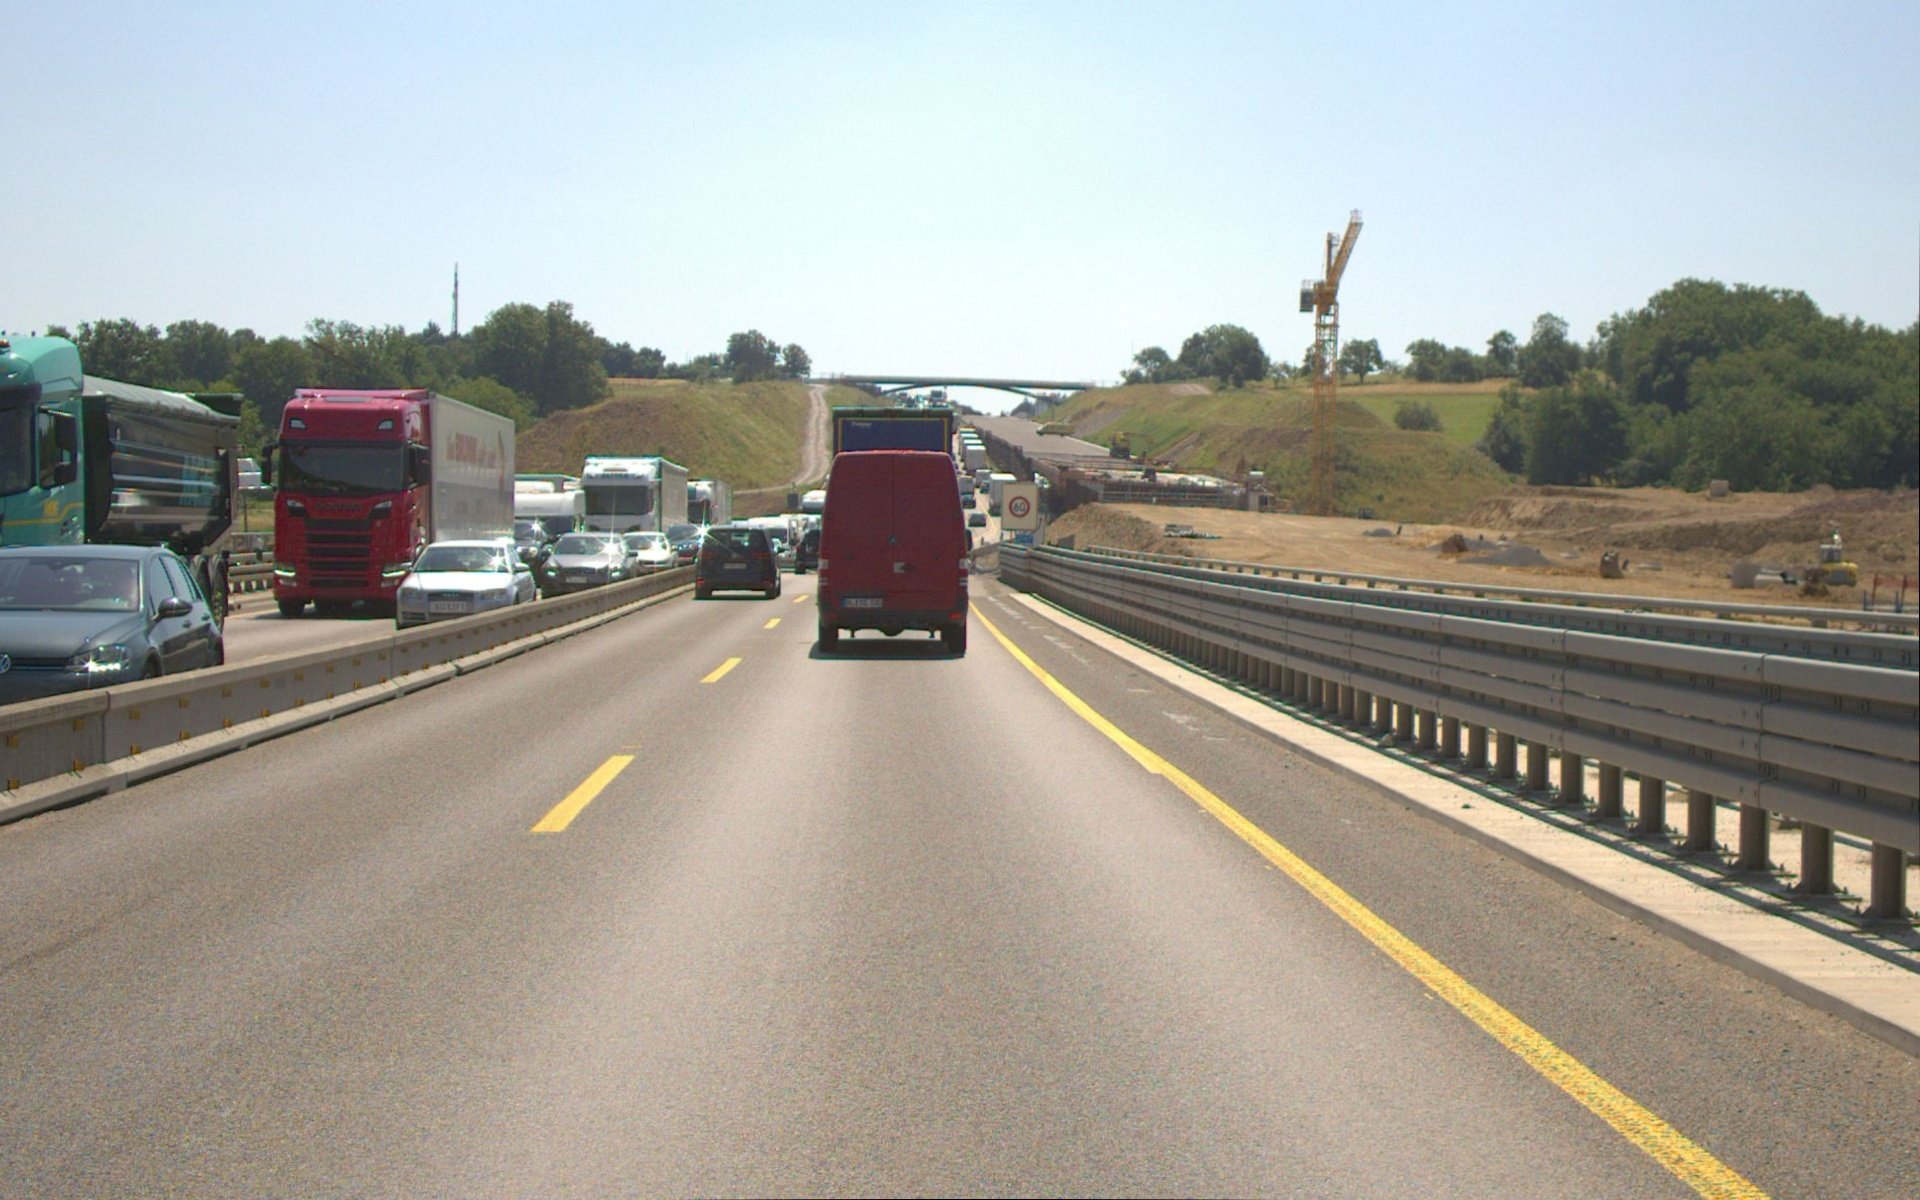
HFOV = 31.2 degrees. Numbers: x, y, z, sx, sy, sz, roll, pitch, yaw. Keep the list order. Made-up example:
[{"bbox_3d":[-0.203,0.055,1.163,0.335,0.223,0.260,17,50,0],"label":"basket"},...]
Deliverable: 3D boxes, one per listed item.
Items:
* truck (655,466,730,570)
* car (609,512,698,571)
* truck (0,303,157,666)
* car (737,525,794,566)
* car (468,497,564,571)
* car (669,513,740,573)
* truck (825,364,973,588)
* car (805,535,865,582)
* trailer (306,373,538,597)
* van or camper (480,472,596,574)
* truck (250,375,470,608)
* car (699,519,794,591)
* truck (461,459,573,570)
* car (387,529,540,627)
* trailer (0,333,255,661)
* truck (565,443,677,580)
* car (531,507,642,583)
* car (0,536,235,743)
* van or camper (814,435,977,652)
[{"bbox_3d":[-11.593,-3.570,149.423,2.806,4.377,6.225,0,1,0],"label":"truck"},{"bbox_3d":[-8.126,-1.536,91.405,1.901,1.456,4.194,3,0,0],"label":"car"},{"bbox_3d":[-10.862,-1.203,37.909,2.796,3.709,5.375,-2,1,-2],"label":"truck"},{"bbox_3d":[-7.494,-2.120,132.846,1.865,1.454,4.607,2,1,0],"label":"car"},{"bbox_3d":[-11.047,-1.663,85.828,1.767,1.728,4.791,3,1,-1],"label":"car"},{"bbox_3d":[-7.780,-1.719,105.075,1.847,1.682,4.619,3,0,-1],"label":"car"},{"bbox_3d":[-1.430,-2.699,76.241,3.020,4.677,6.933,-1,1,-3],"label":"truck"},{"bbox_3d":[-4.419,-1.475,121.929,2.012,1.539,4.133,2,1,-1],"label":"car"},{"bbox_3d":[-10.858,-2.349,70.620,2.806,4.162,11.799,1,2,0],"label":"trailer"},{"bbox_3d":[-11.456,-2.108,93.741,2.503,2.689,5.244,0,1,0],"label":"van or camper"},{"bbox_3d":[-10.904,-1.988,63.058,2.816,4.023,6.523,1,2,1],"label":"truck"},{"bbox_3d":[-4.734,-1.017,76.731,2.012,1.539,4.133,1,1,-2],"label":"car"},{"bbox_3d":[-15.696,-3.046,122.374,2.904,3.752,8.368,1,2,-1],"label":"truck"},{"bbox_3d":[-7.424,-0.363,51.765,1.781,1.375,4.712,-1,1,-2],"label":"car"},{"bbox_3d":[-11.057,-1.219,43.148,2.794,3.660,8.958,-2,1,-2],"label":"trailer"},{"bbox_3d":[-11.567,-3.029,117.876,3.078,4.521,7.103,1,1,0],"label":"truck"},{"bbox_3d":[-7.980,-1.181,73.854,1.890,1.482,4.920,3,1,-1],"label":"car"},{"bbox_3d":[-6.661,0.242,25.802,1.631,1.403,4.103,-1,1,-1],"label":"car"},{"bbox_3d":[-0.919,-0.768,45.953,2.029,2.735,4.516,1,1,-3],"label":"van or camper"}]
